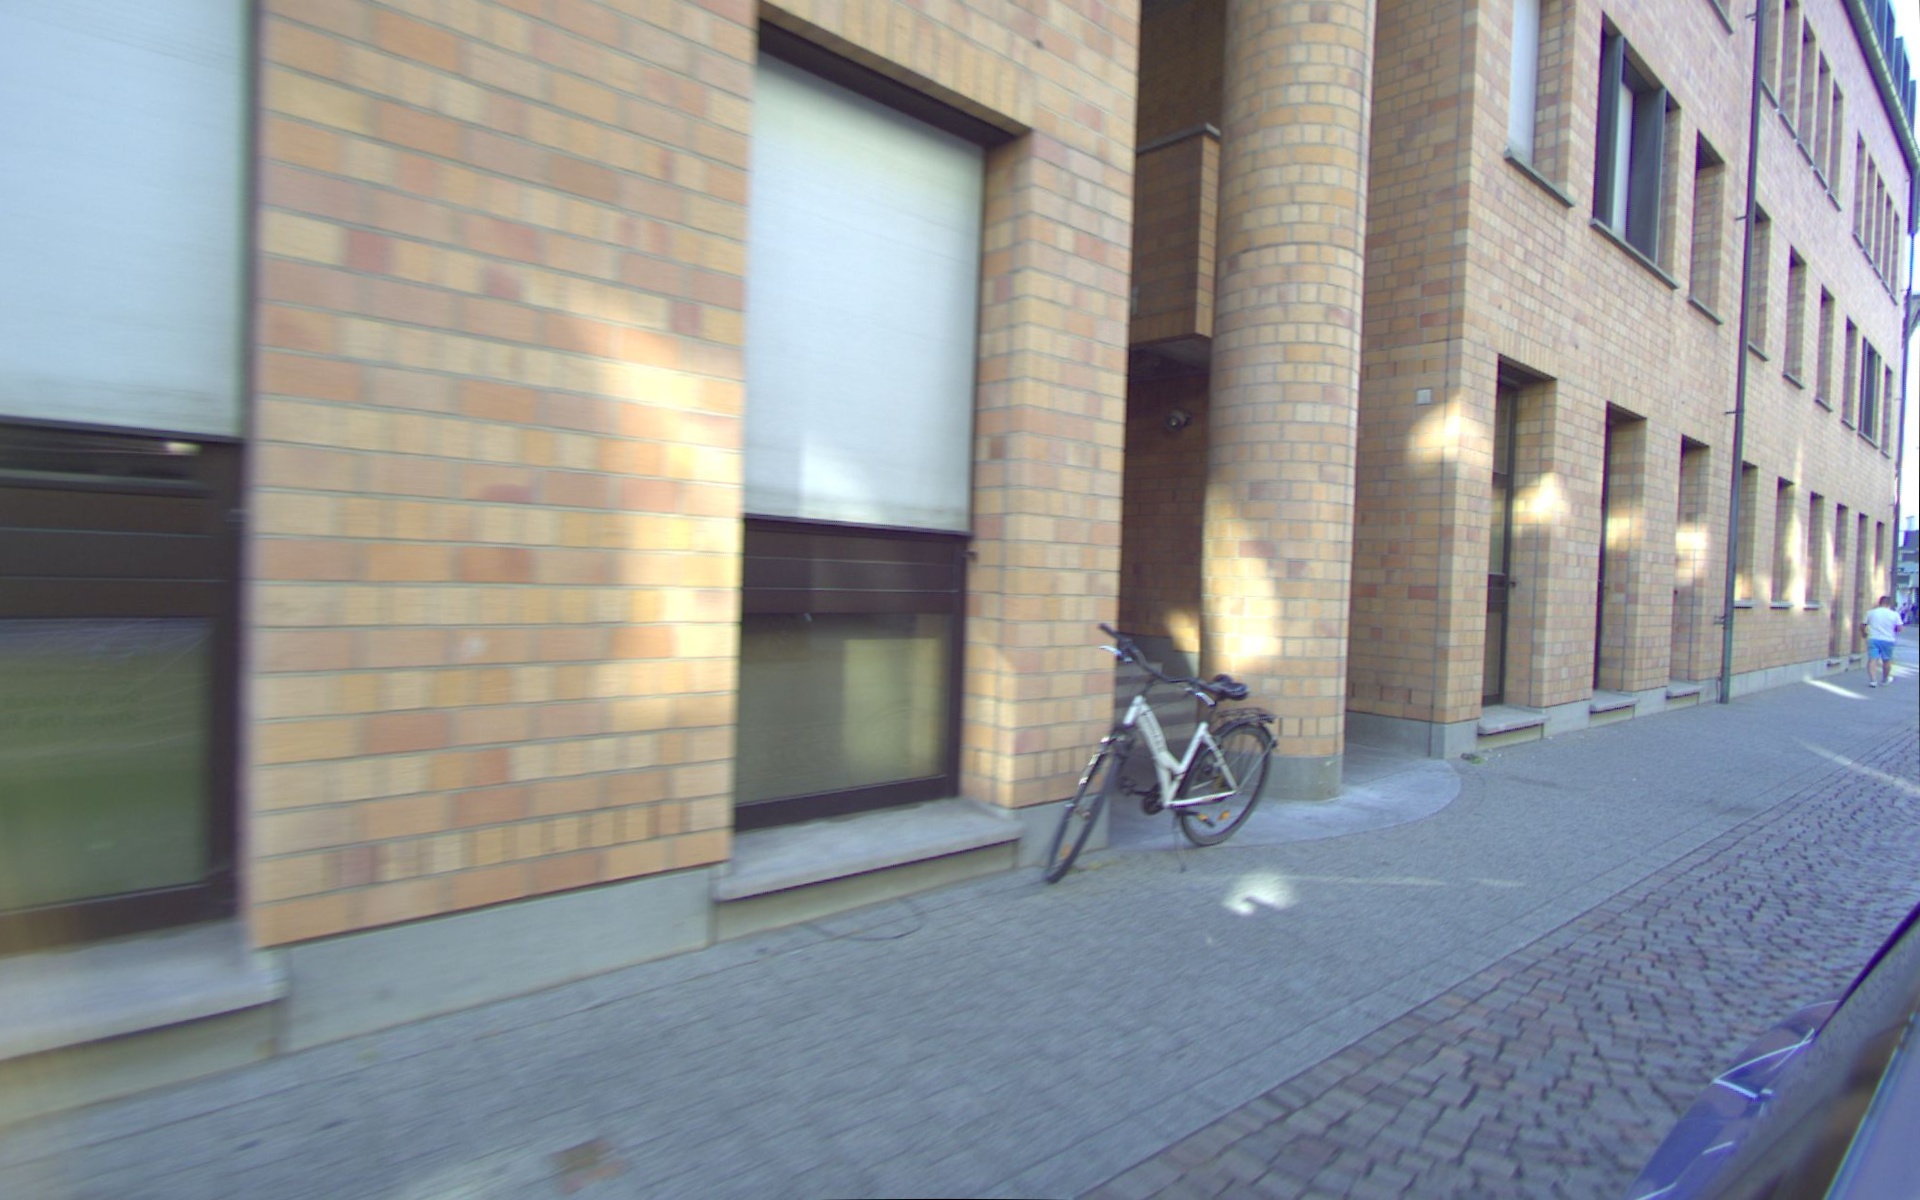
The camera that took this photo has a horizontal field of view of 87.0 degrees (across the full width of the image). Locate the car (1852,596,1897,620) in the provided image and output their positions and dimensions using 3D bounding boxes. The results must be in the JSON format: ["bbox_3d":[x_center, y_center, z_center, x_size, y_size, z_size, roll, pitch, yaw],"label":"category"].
[{"bbox_3d":[68.696,0.624,76.069,1.844,1.612,3.761,4,1,33],"label":"car"}]

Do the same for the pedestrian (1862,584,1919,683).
[{"bbox_3d":[17.370,0.605,18.760,0.807,1.737,0.762,1,4,-41],"label":"pedestrian"}]

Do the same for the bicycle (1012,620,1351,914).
[{"bbox_3d":[1.159,0.697,4.959,1.949,1.116,0.550,0,5,-44],"label":"bicycle"}]
